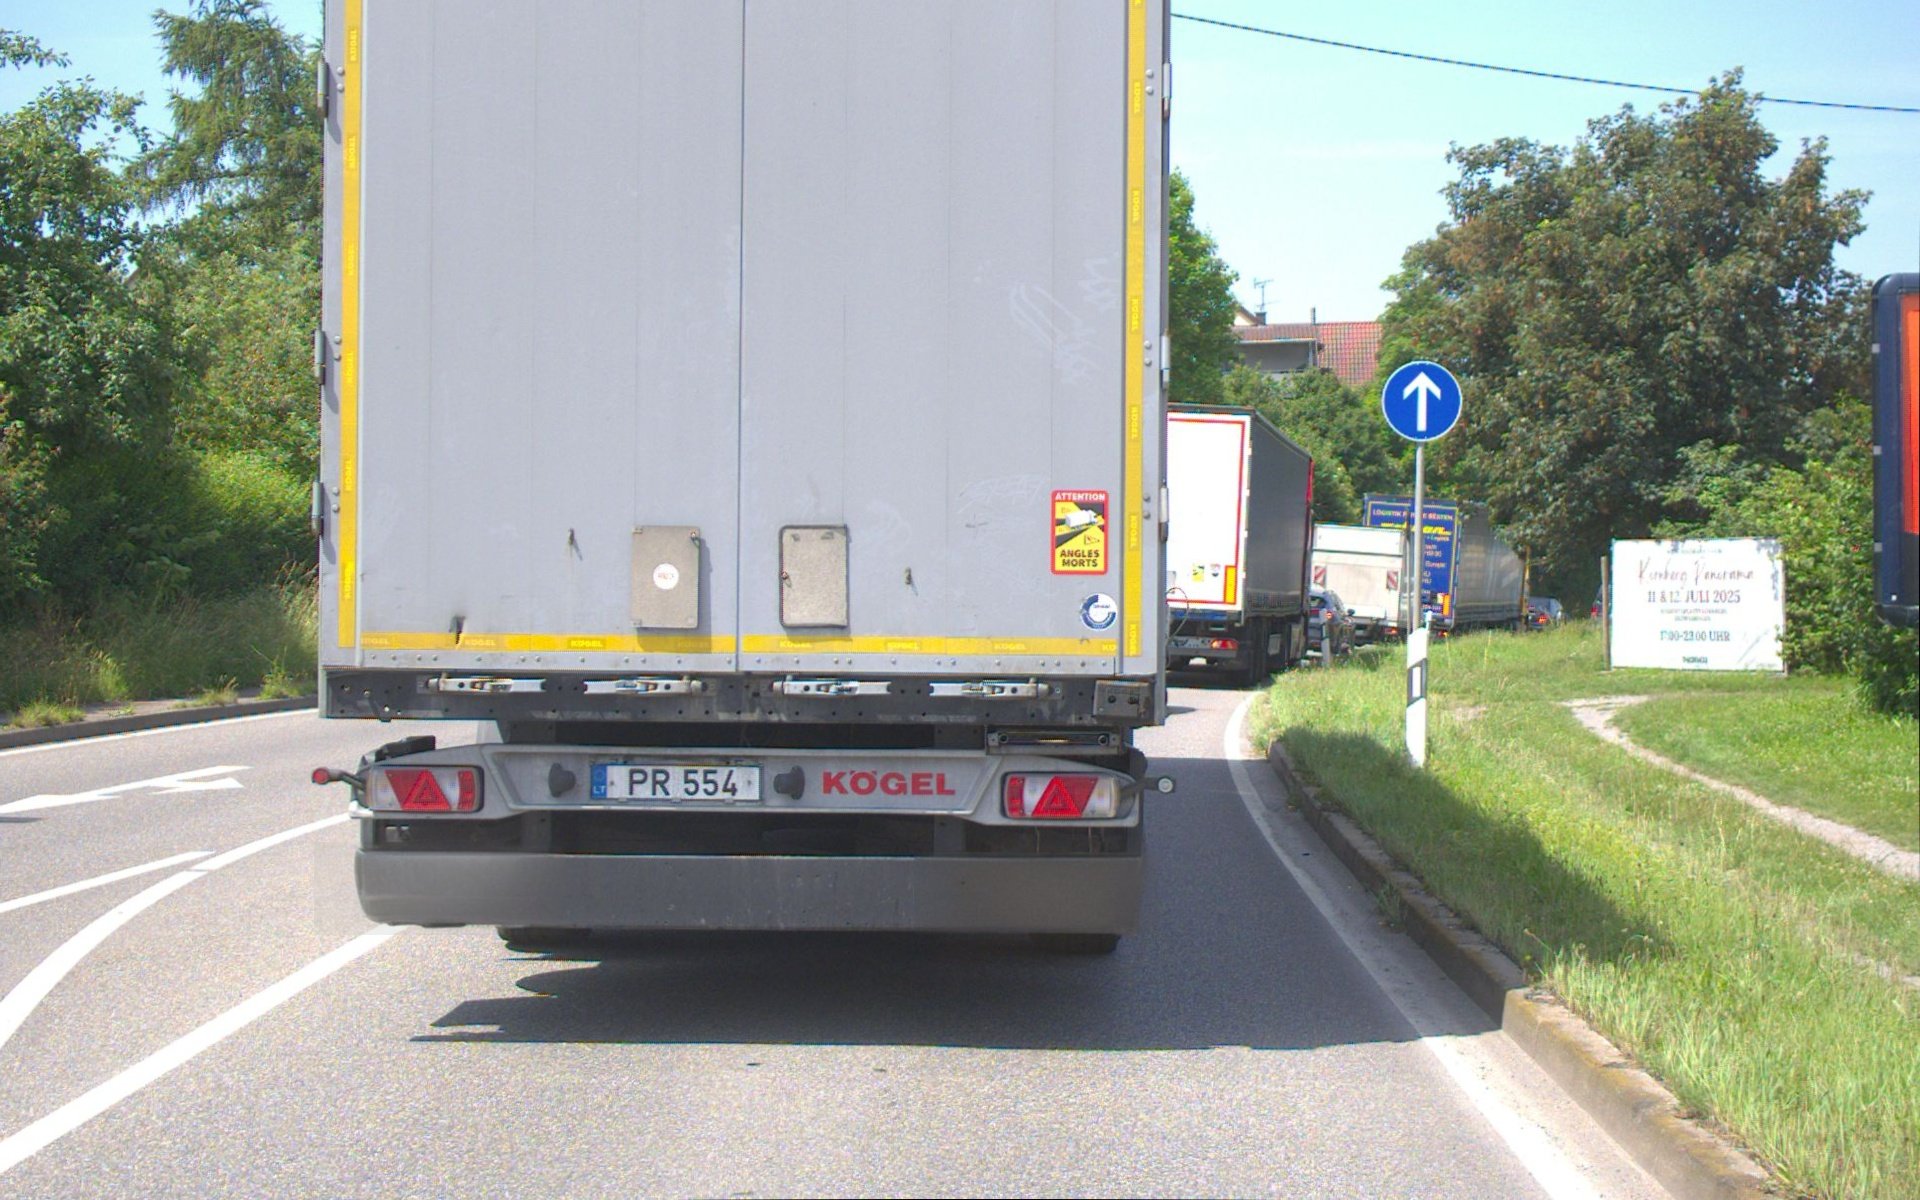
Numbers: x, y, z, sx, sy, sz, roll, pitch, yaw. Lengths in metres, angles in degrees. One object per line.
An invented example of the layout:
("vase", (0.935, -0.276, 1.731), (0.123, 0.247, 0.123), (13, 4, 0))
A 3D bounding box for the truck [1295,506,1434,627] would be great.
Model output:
("truck", (9.835, -0.776, 83.162), (2.545, 2.793, 6.028), (1, 0, 14))

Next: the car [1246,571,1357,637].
("car", (7.509, 0.090, 75.272), (1.994, 1.371, 3.998), (1, 0, 11))

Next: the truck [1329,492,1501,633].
("truck", (12.444, -1.060, 93.278), (3.435, 3.592, 9.347), (1, 1, 15))

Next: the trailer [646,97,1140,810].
("trailer", (-0.292, -0.908, 23.119), (2.825, 4.097, 6.544), (0, 1, 2))

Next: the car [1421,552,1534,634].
("car", (15.330, -0.246, 101.467), (2.533, 2.269, 6.376), (1, 1, 15))

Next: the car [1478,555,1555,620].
("car", (17.937, -0.389, 110.732), (1.995, 2.007, 3.997), (1, 0, 15))

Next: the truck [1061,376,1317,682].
("truck", (4.064, -1.007, 56.559), (2.761, 4.274, 16.409), (1, 0, 9))

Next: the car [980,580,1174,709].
("car", (1.368, 0.470, 38.631), (1.819, 1.342, 3.846), (1, 0, 7))

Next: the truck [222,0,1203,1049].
("truck", (-0.536, -0.881, 15.708), (2.822, 4.113, 11.443), (1, 1, 2))
